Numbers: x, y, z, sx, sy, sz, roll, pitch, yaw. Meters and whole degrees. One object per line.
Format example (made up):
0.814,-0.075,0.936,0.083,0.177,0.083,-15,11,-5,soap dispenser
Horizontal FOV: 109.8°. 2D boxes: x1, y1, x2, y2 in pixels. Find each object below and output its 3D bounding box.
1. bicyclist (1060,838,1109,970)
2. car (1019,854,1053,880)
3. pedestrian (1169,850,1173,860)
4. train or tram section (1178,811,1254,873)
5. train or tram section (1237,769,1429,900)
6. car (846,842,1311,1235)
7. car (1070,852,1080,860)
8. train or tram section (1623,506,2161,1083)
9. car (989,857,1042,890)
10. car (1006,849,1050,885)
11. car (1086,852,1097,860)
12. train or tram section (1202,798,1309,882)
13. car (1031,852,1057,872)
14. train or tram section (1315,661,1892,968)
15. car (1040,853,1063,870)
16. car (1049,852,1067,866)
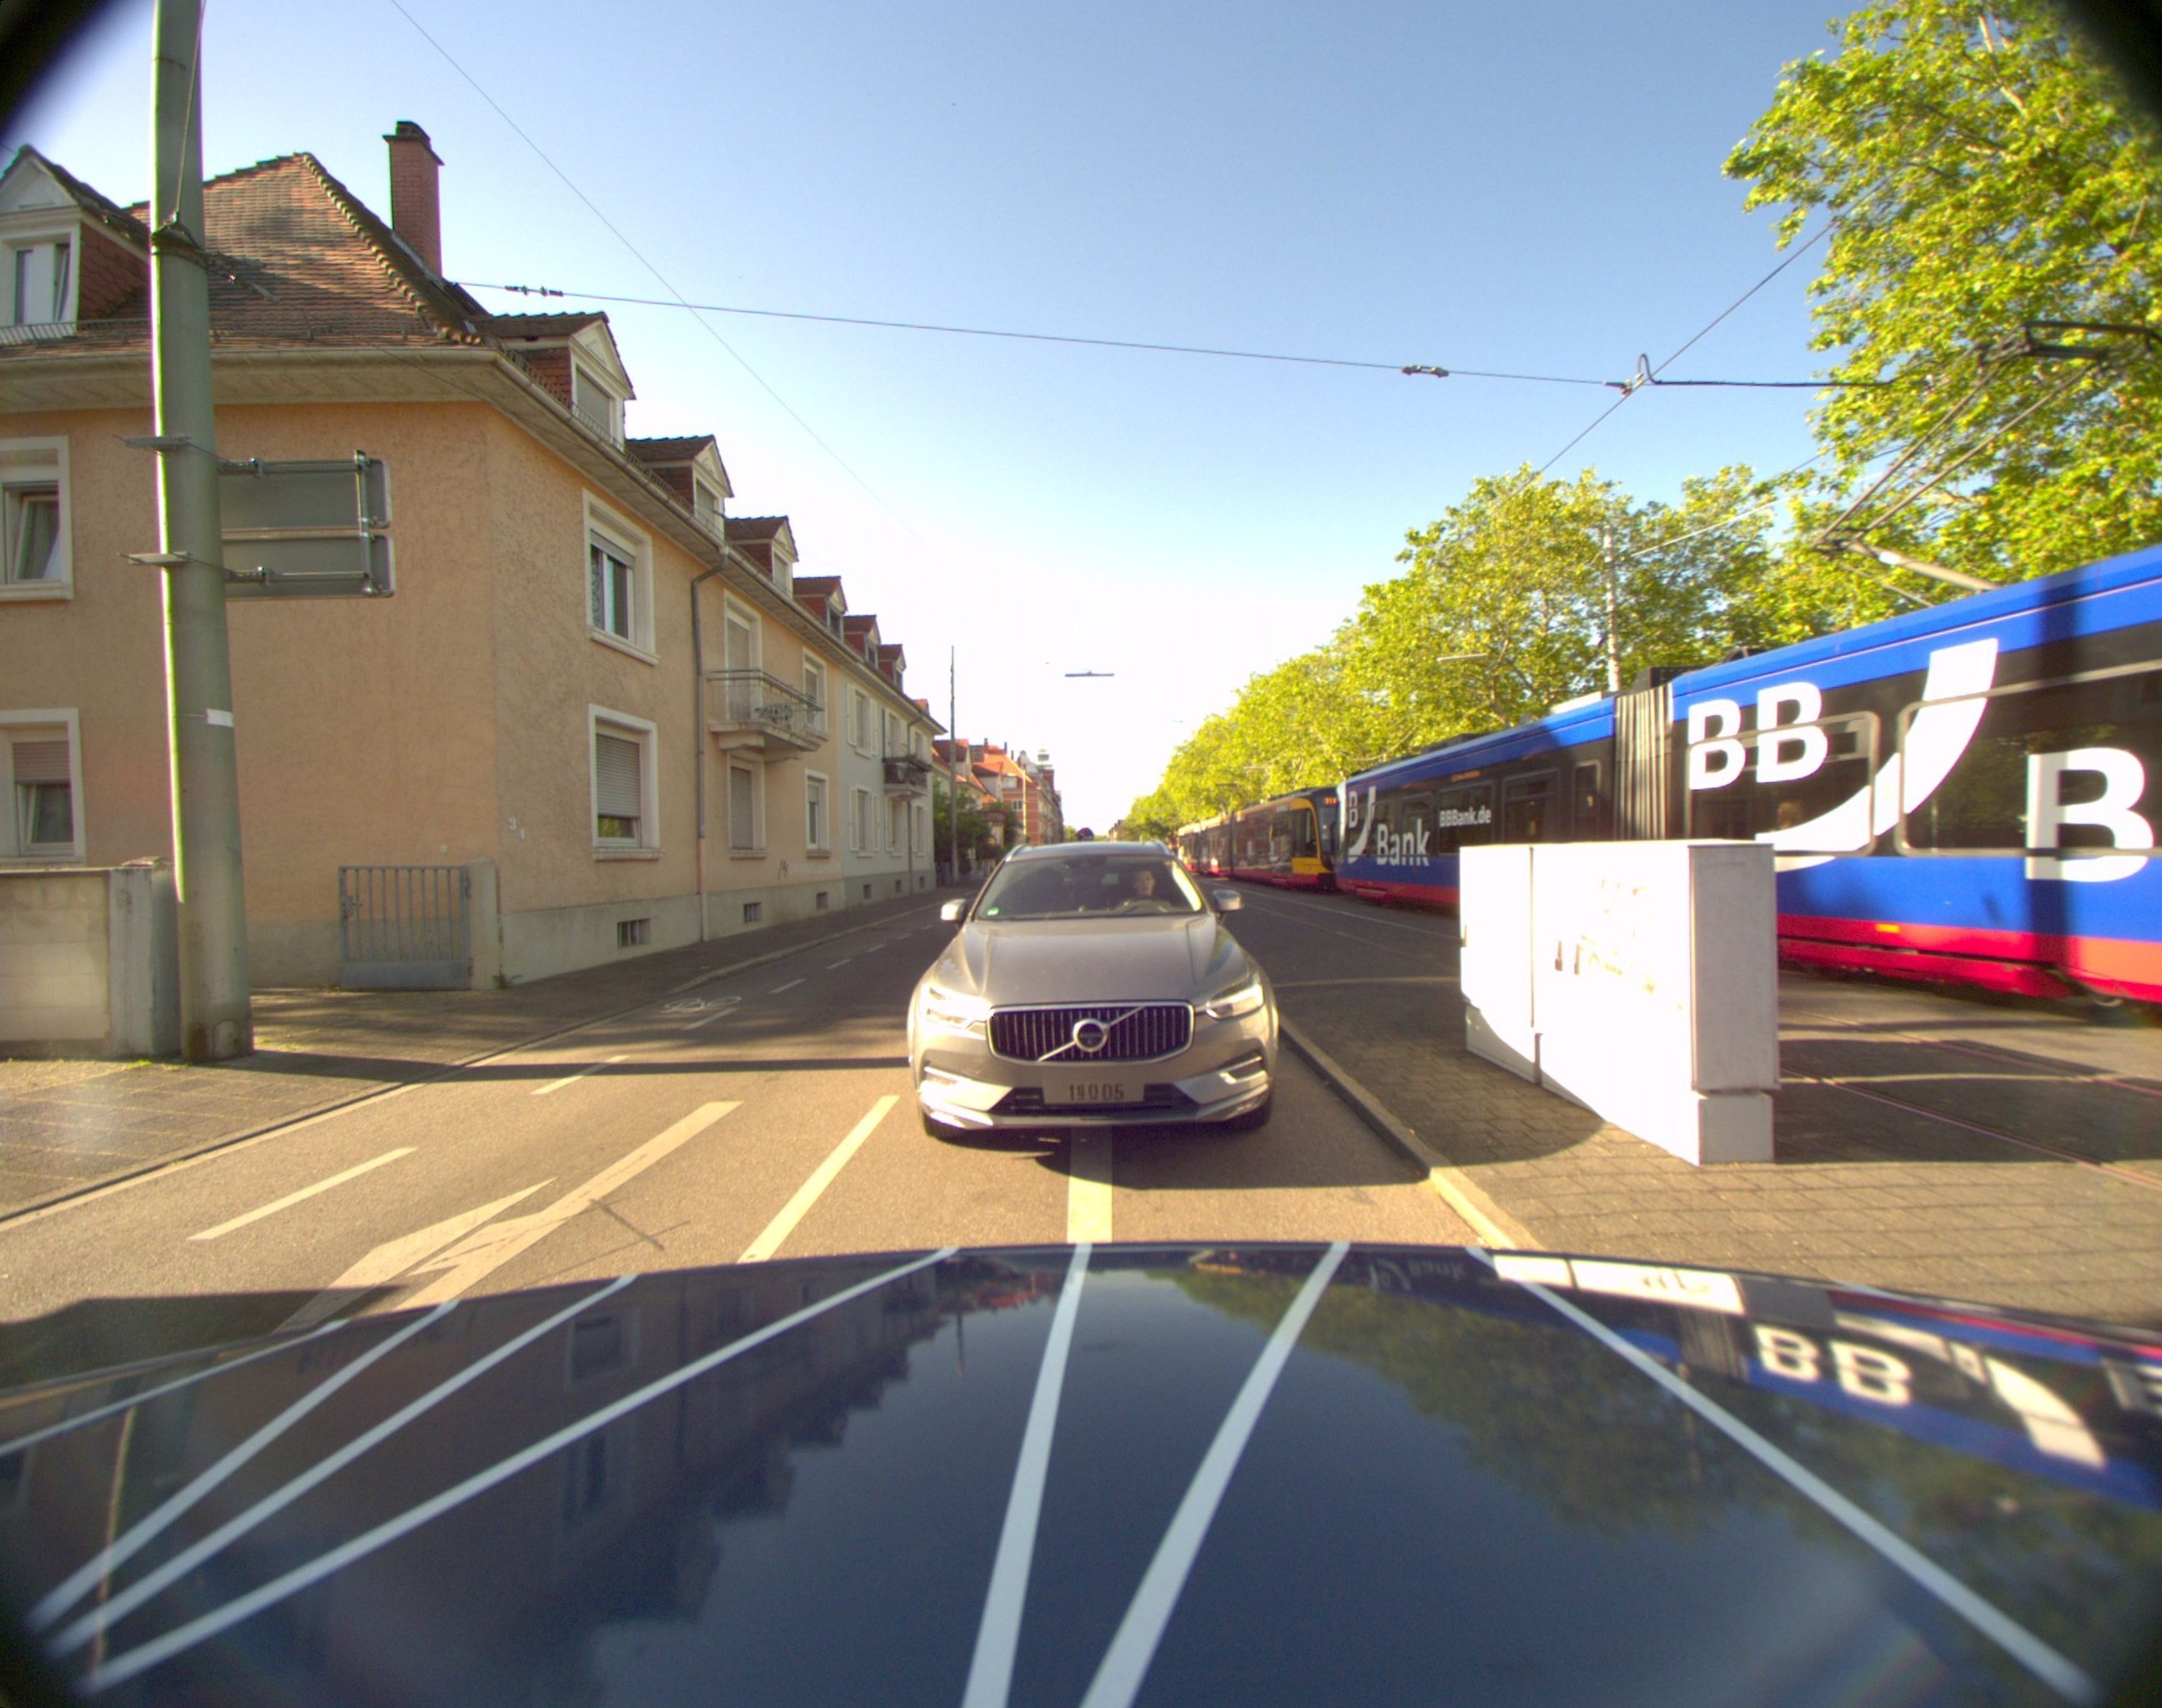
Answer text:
0.051,0.651,10.211,0.600,1.709,0.662,-1,1,1,bicyclist
-2.813,0.788,48.190,1.882,1.477,3.999,-1,0,-1,car
15.701,0.148,132.684,0.578,1.632,0.677,-1,1,3,pedestrian
8.843,-0.736,51.482,3.062,3.592,12.889,-1,0,1,train or tram section
8.249,-0.565,27.153,3.062,3.592,12.115,-1,0,1,train or tram section
0.021,0.769,5.438,1.917,1.621,4.502,-1,0,1,car
-1.112,0.316,148.116,1.882,1.477,3.999,-1,0,-1,car
8.388,-0.387,2.888,3.064,3.592,12.497,-1,0,-4,train or tram section
-3.139,0.923,37.160,1.881,1.477,4.001,-1,0,5,car
-2.905,0.669,42.905,1.932,1.834,5.313,-1,0,2,car
1.814,0.392,137.443,1.882,1.477,3.999,-1,0,-1,car
8.554,-0.628,39.108,3.062,3.592,11.950,-1,0,2,train or tram section
-2.938,0.600,60.882,1.882,1.477,3.999,-1,0,-1,car
8.101,-0.500,15.098,3.063,3.592,12.113,-1,0,0,train or tram section
-2.611,0.635,67.007,1.882,1.477,3.999,-1,0,-1,car
-2.561,0.556,85.546,1.882,1.477,3.999,-1,0,-1,car
